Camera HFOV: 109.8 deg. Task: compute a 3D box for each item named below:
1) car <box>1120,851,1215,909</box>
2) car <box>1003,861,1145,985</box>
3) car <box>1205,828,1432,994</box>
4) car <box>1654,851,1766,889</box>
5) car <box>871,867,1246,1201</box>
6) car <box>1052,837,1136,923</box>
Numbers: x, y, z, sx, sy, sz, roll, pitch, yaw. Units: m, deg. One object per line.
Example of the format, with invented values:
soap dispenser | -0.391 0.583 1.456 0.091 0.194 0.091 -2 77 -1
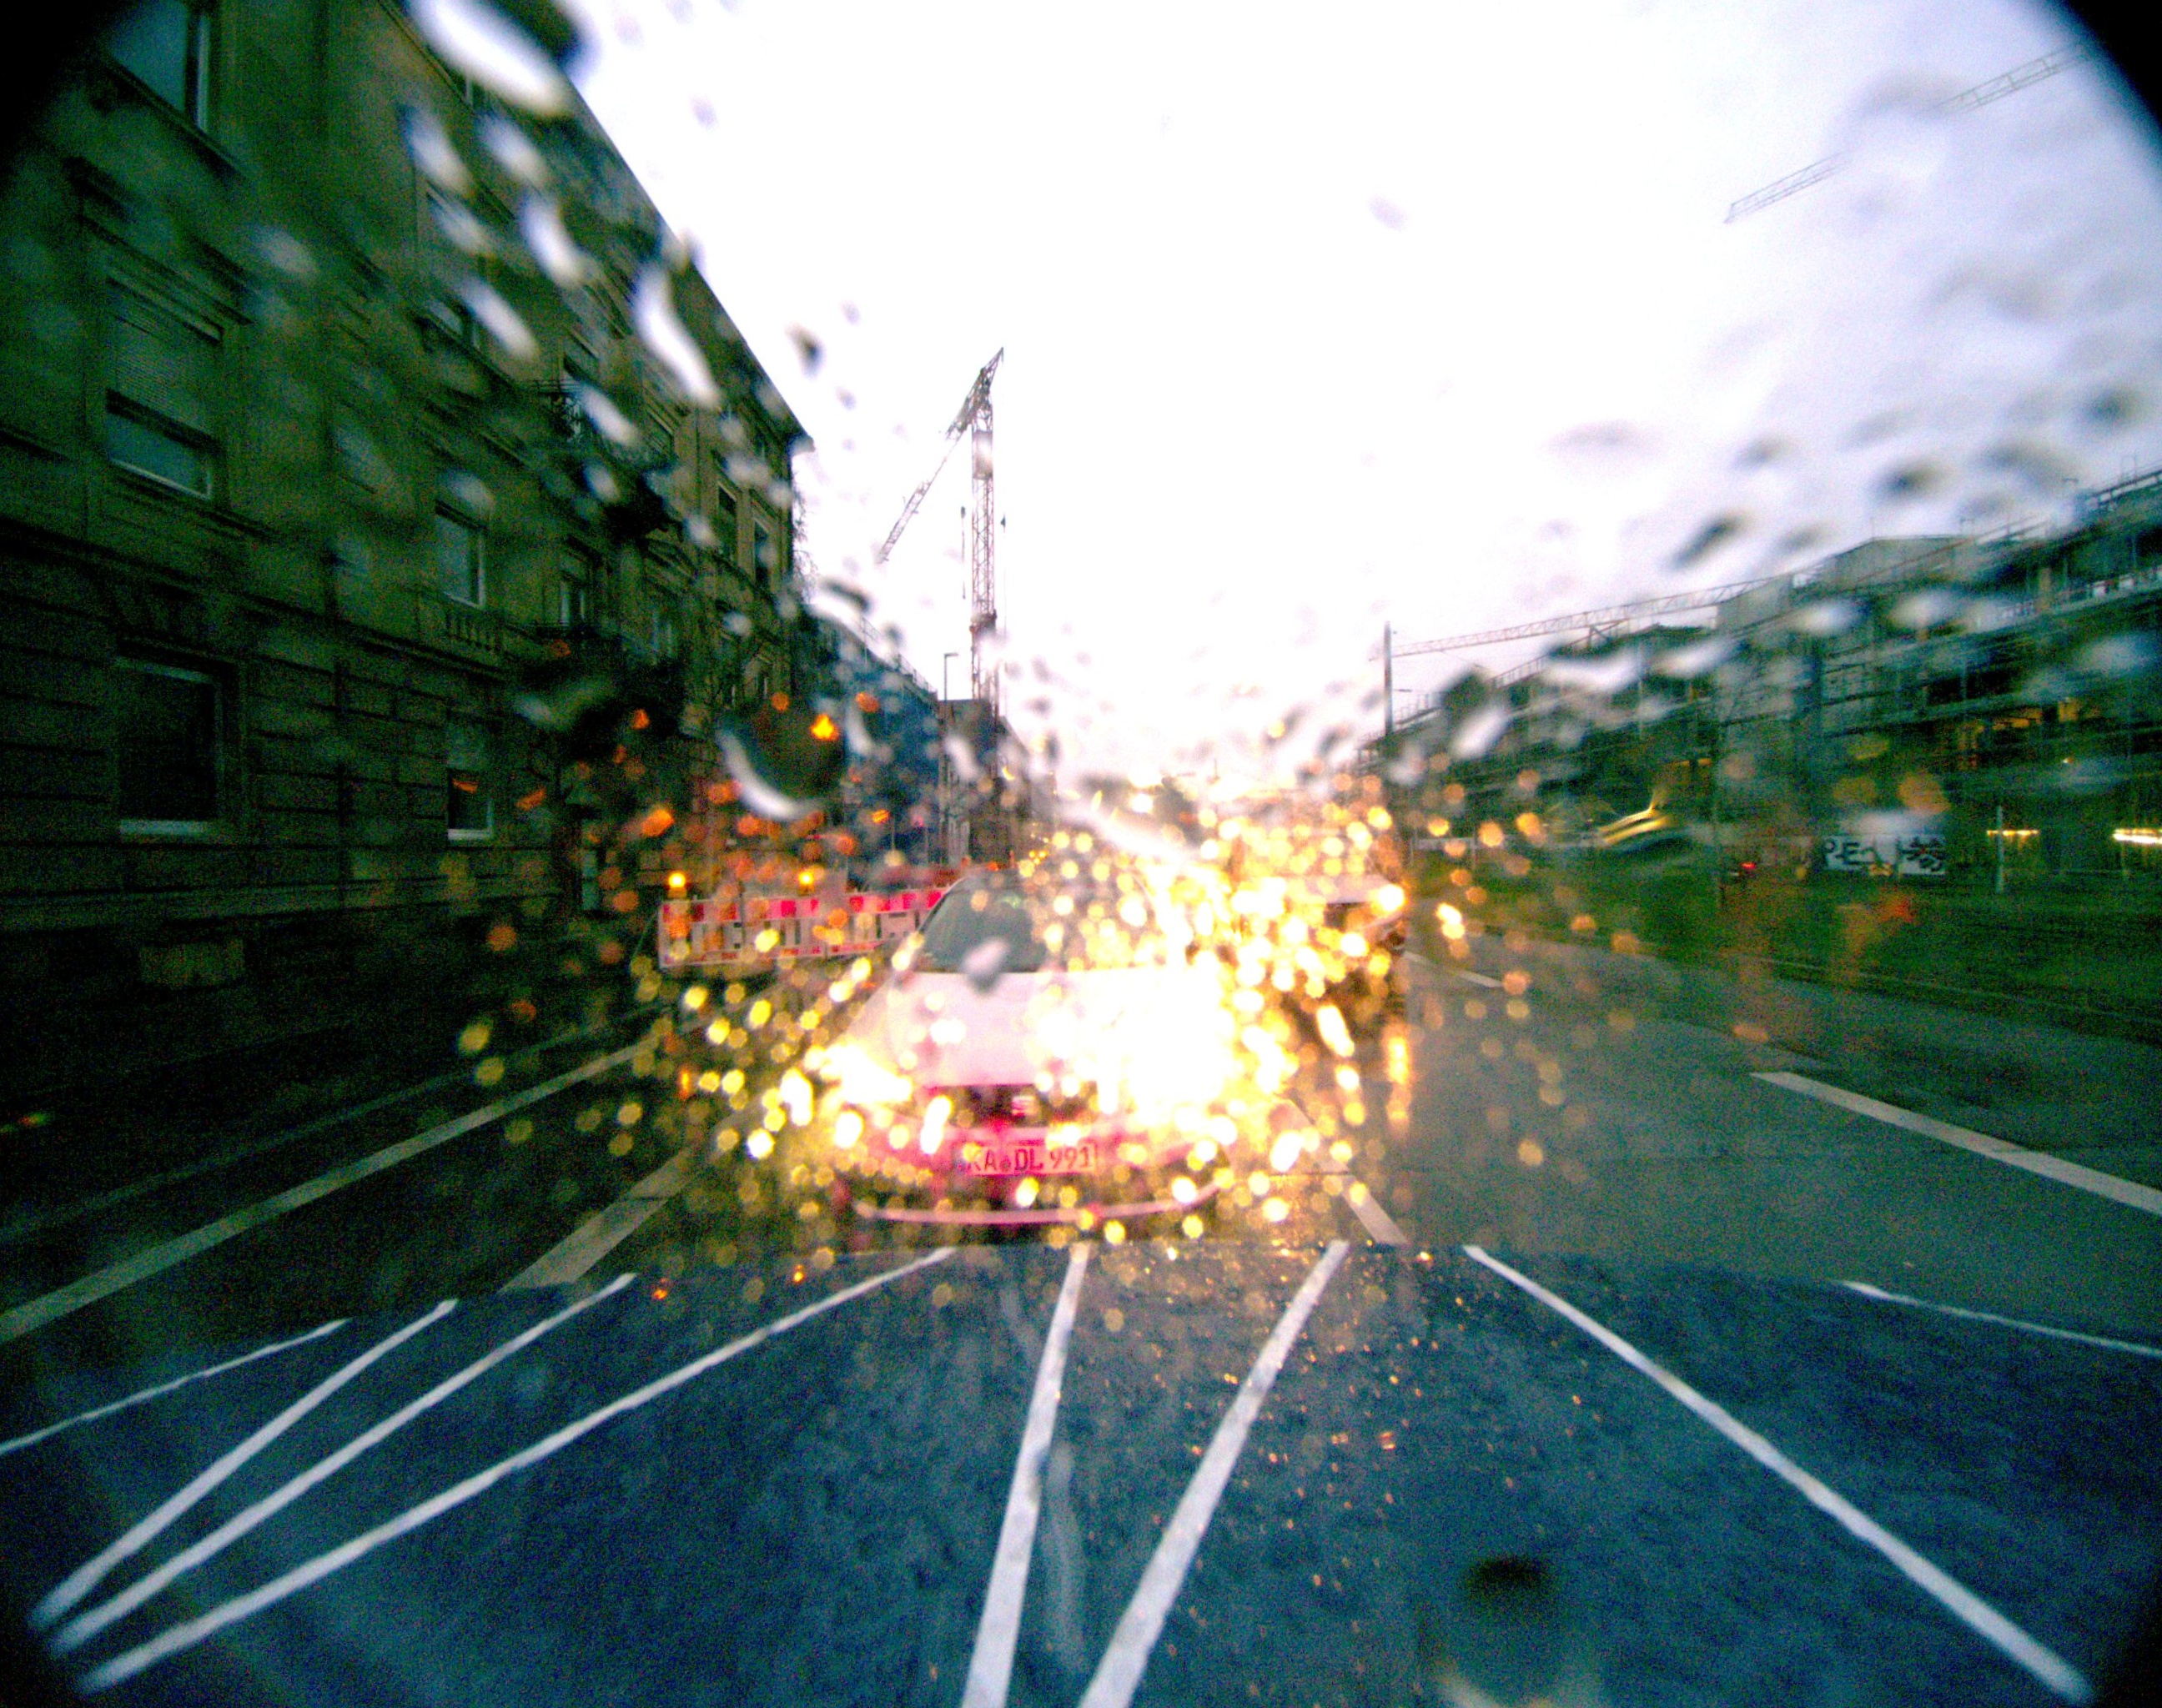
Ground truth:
car | 2.698 0.771 24.810 1.846 1.644 4.319 -2 1 -11
car | -0.132 0.898 11.746 1.764 1.443 3.999 -2 1 -1
car | 2.877 0.592 10.153 1.858 1.723 4.000 -2 1 2
car | 31.135 0.759 37.782 1.958 1.677 4.081 -2 1 -6
car | -0.145 0.907 5.688 1.764 1.443 3.999 -2 1 -1
car | 0.257 0.576 19.322 1.858 1.886 3.999 -2 1 -1
